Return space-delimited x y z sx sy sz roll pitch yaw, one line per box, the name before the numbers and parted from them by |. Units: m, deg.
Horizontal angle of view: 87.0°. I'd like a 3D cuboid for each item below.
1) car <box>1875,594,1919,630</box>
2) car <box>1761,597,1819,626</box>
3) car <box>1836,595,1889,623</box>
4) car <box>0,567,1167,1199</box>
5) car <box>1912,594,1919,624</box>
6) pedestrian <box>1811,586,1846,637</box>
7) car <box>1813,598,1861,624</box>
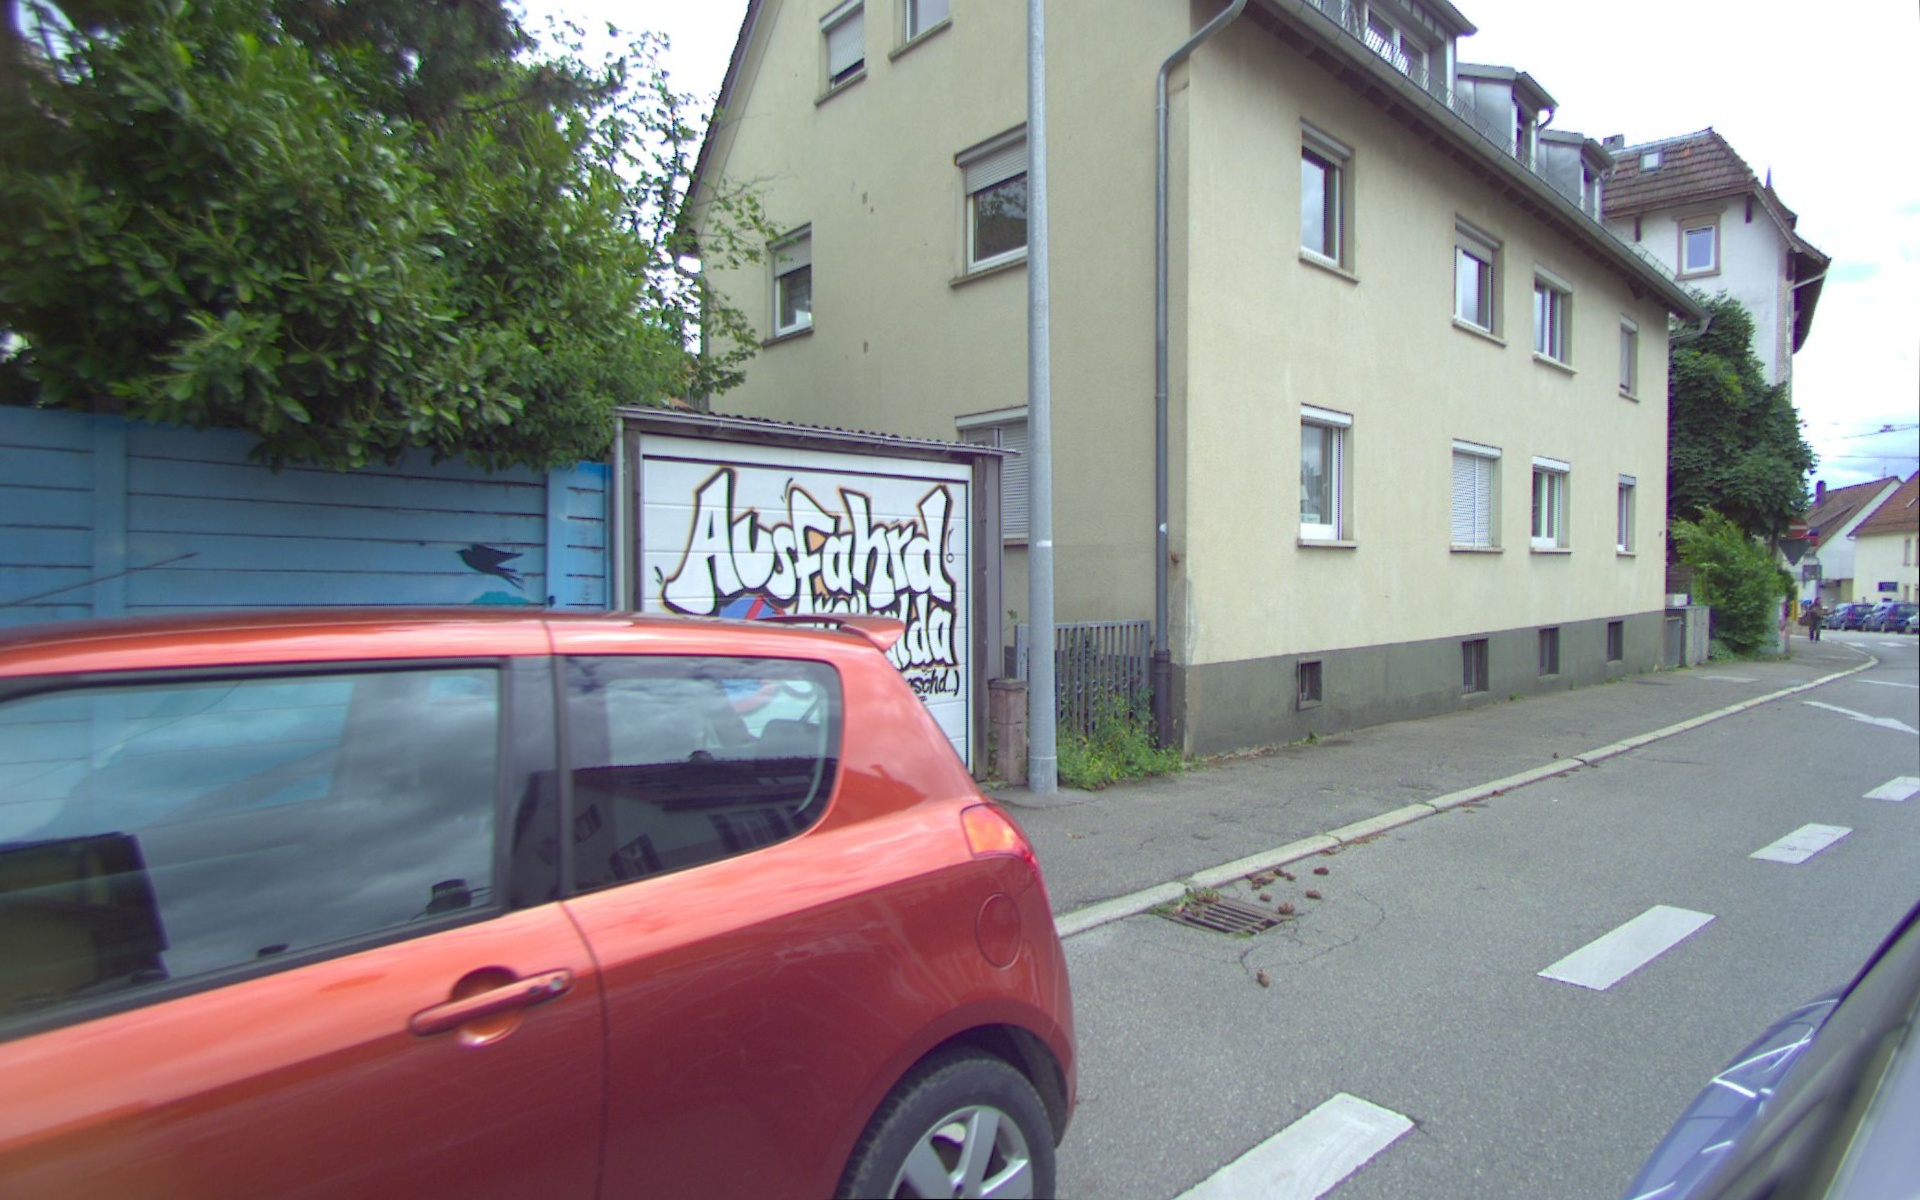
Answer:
car | 56.280 0.737 60.102 1.759 1.967 4.282 4 0 27
car | 47.574 0.665 58.095 1.759 1.498 3.792 4 1 28
car | 59.372 0.624 66.657 1.707 1.753 3.959 0 -1 28
car | -1.561 0.709 1.712 3.931 1.470 1.761 0 0 -42
car | 53.162 0.490 54.468 1.758 1.639 3.961 0 -1 27
pedestrian | 30.608 0.415 35.685 0.855 1.755 1.008 0 -2 37
car | 62.022 0.806 71.652 1.707 1.753 3.959 0 -1 28
